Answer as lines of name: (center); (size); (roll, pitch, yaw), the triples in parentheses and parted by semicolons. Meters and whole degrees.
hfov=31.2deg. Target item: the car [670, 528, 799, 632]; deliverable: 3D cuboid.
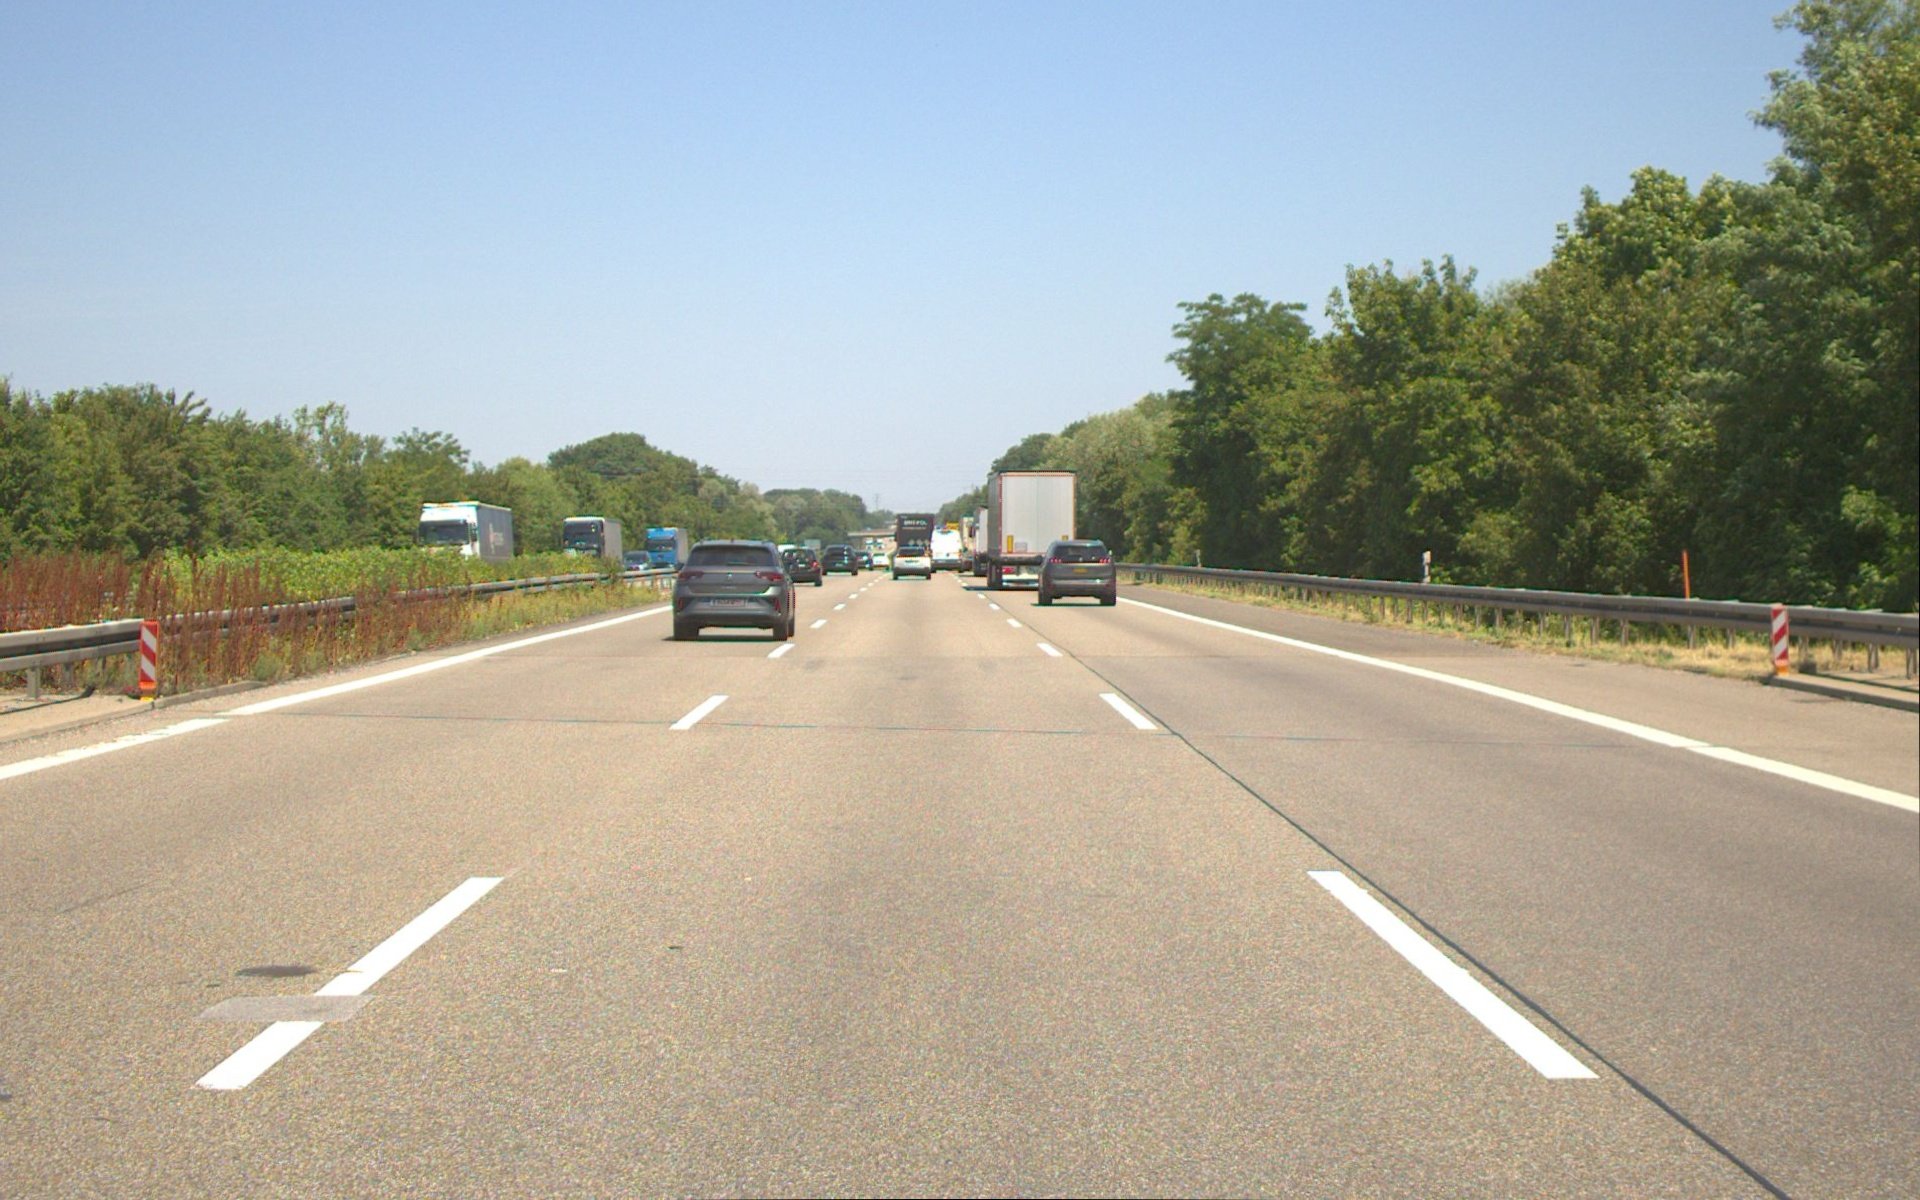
car: (-3.500, -0.350, 54.040); (1.759, 1.525, 4.286); (1, 1, -1)

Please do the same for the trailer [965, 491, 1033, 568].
trailer: (1.980, -3.719, 180.249); (3.122, 3.913, 9.937); (1, 1, -2)

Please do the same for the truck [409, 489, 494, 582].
truck: (-23.764, -2.980, 160.941); (2.916, 4.115, 6.194); (-3, 1, -1)

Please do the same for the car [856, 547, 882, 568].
car: (-6.797, -3.184, 257.025); (1.907, 1.525, 4.286); (1, 1, -1)

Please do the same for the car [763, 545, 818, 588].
car: (-6.383, -1.291, 130.001); (1.900, 1.525, 4.084); (1, 1, -1)

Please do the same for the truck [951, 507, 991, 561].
truck: (0.814, -4.744, 246.289); (2.792, 3.713, 7.108); (1, 1, 1)

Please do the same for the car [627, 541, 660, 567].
car: (-19.679, -2.870, 213.851); (1.907, 1.525, 4.286); (1, 1, -7)

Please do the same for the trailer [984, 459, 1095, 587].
trailer: (2.664, -2.590, 120.025); (3.434, 4.167, 13.633); (1, 0, 0)

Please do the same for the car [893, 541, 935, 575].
car: (-2.150, -1.970, 160.524); (1.900, 1.525, 4.084); (1, 1, -1)

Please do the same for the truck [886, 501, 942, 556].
truck: (-3.161, -4.918, 237.010); (3.667, 3.713, 7.108); (1, 1, 1)

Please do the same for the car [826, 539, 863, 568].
car: (-6.307, -2.544, 188.344); (1.907, 1.525, 4.286); (1, 1, -1)

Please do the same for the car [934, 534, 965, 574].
car: (-0.660, -2.892, 213.675); (1.907, 2.417, 4.286); (1, 1, -1)

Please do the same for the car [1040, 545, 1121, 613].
car: (2.981, -0.549, 85.930); (1.845, 1.623, 4.135); (0, 1, 0)
